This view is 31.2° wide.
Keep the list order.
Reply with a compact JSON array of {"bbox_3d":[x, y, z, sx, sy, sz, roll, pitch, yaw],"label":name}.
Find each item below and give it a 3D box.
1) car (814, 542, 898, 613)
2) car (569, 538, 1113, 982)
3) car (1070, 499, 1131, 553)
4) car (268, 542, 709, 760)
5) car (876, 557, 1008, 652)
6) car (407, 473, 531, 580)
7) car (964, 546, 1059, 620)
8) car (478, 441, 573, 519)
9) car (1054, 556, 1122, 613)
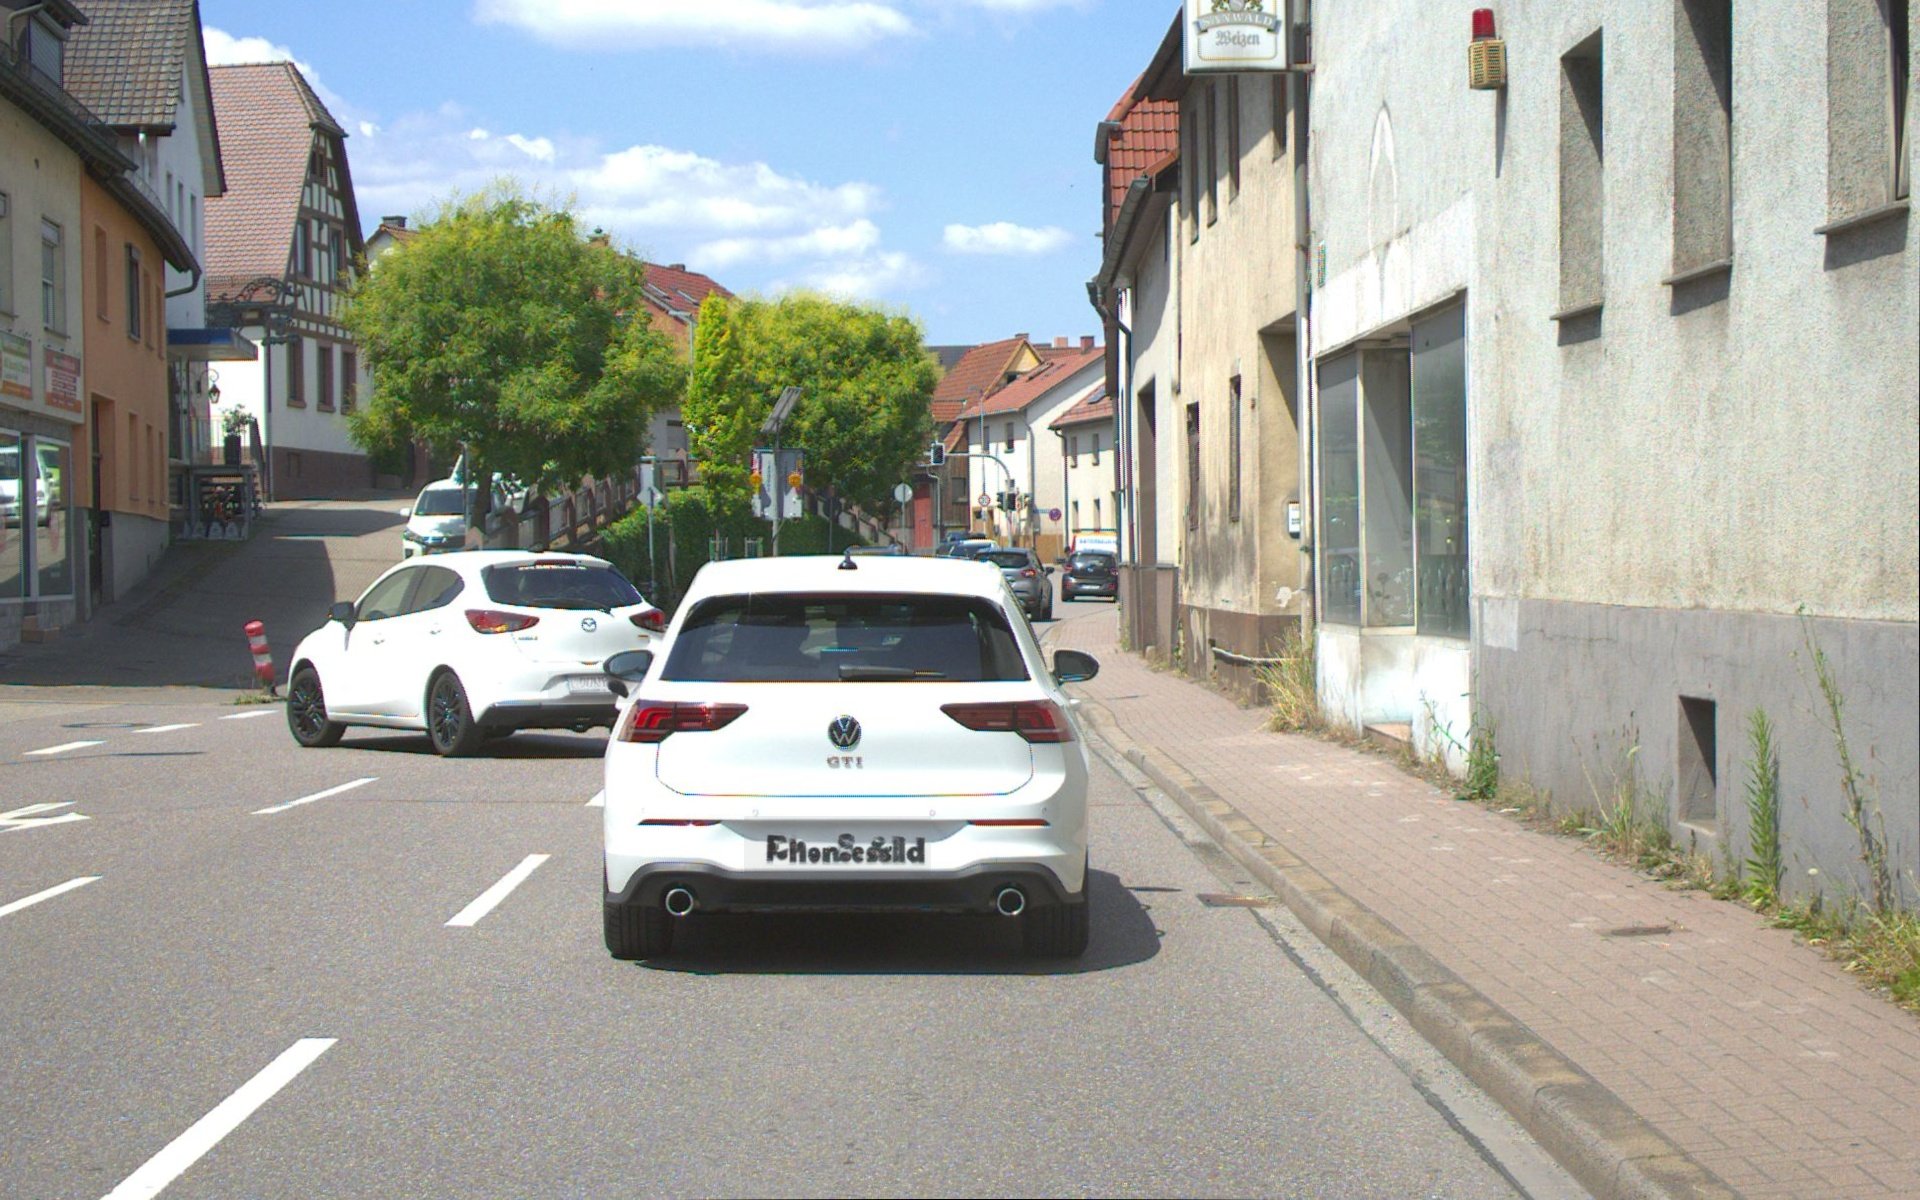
[{"bbox_3d":[-2.477,-0.560,82.771,1.758,1.630,4.049,-1,1,2],"label":"car"},{"bbox_3d":[-0.370,0.519,13.594,1.808,1.462,4.000,1,1,1],"label":"car"},{"bbox_3d":[4.657,-2.433,113.628,1.776,1.759,3.999,0,1,6],"label":"car"},{"bbox_3d":[-3.580,0.330,25.530,1.807,1.462,4.000,1,1,-31],"label":"car"},{"bbox_3d":[-0.253,0.052,55.950,1.808,1.462,3.999,1,1,4],"label":"car"},{"bbox_3d":[-8.689,-1.332,61.060,1.693,1.537,3.857,0,6,-1],"label":"car"},{"bbox_3d":[1.144,-0.394,74.471,1.776,1.533,3.999,0,1,5],"label":"car"},{"bbox_3d":[-9.226,-2.579,73.227,1.576,1.357,3.857,0,6,-1],"label":"car"},{"bbox_3d":[3.658,-0.456,97.764,1.776,1.533,4.000,0,1,4],"label":"car"}]
